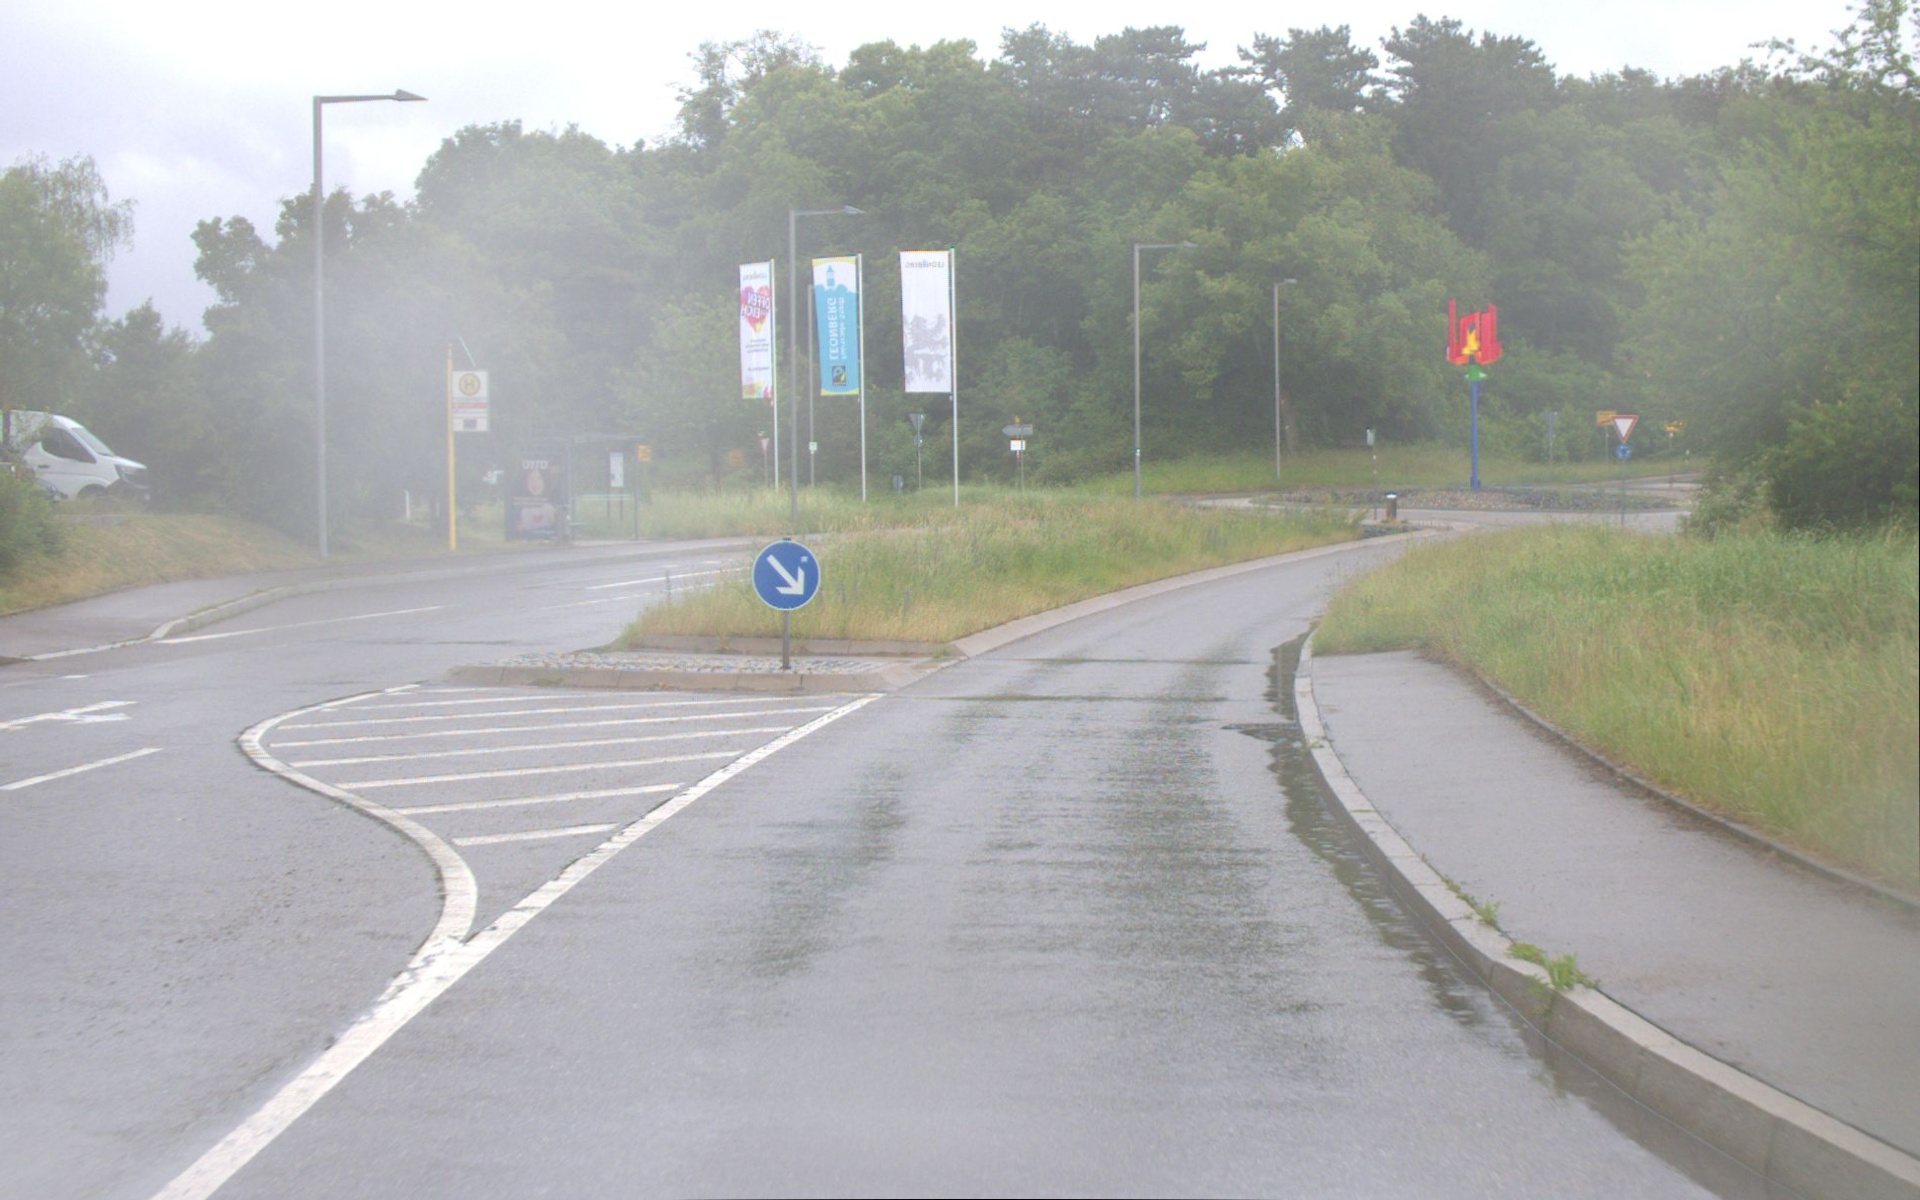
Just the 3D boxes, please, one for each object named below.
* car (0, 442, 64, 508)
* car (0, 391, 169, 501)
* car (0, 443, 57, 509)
[{"bbox_3d":[-21.302,-2.713,73.119,3.988,1.359,1.652,3,2,6],"label":"car"},{"bbox_3d":[-21.699,-3.552,78.905,6.555,2.389,2.139,1,1,0],"label":"car"},{"bbox_3d":[-20.922,-2.557,71.044,3.988,1.359,1.847,0,2,6],"label":"car"}]
